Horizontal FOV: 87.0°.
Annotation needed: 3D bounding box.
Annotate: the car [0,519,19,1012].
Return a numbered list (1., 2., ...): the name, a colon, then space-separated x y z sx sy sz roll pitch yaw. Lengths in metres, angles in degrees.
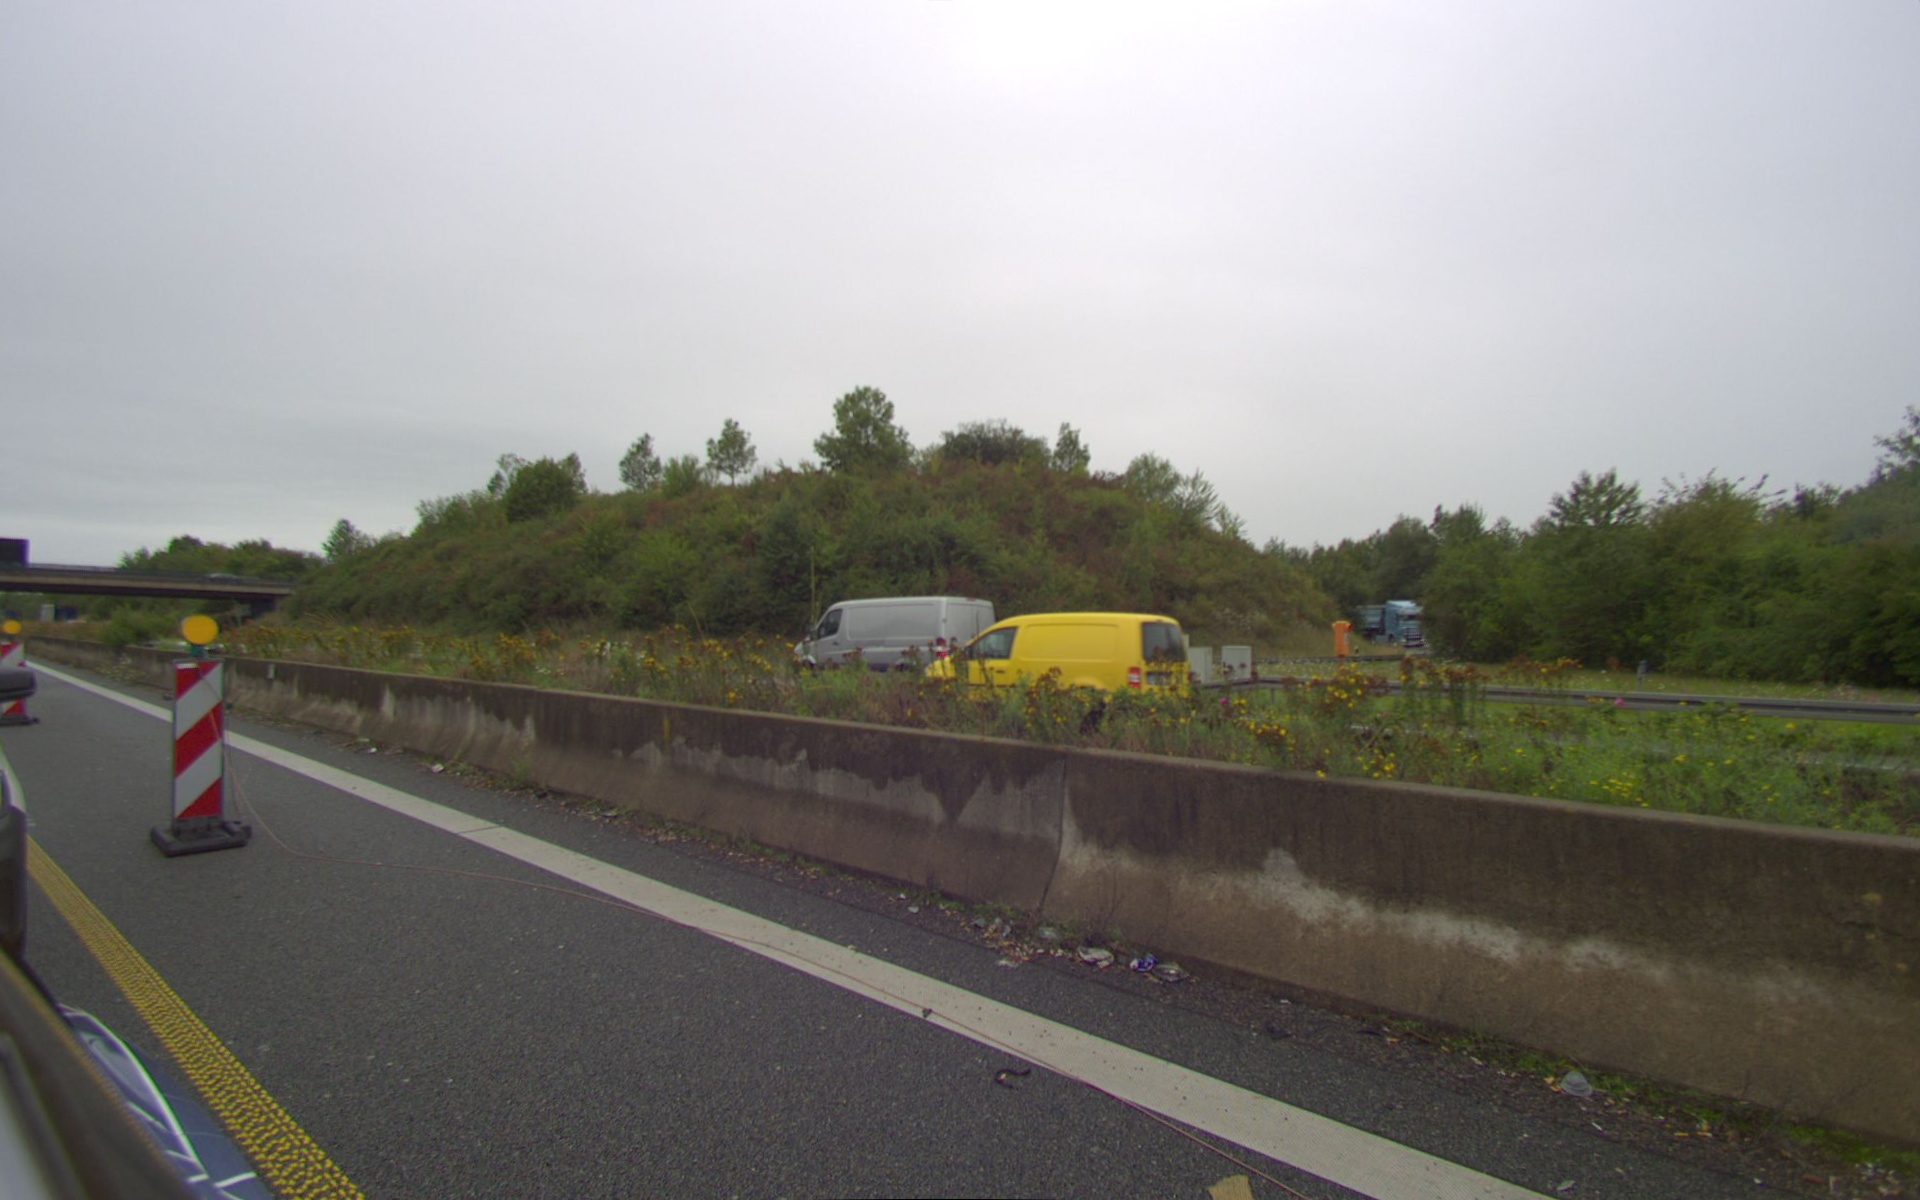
1. car: -5.798 0.654 4.600 4.645 1.798 1.747 -1 -1 41

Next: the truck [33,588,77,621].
1. truck: -131.563 0.684 146.960 17.291 4.558 3.369 -1 -1 44

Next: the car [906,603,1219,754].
1. car: 1.500 1.163 16.232 4.777 2.063 1.972 -2 -3 42

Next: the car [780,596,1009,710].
1. car: -1.732 1.246 24.693 5.884 2.459 2.214 -2 -3 44
